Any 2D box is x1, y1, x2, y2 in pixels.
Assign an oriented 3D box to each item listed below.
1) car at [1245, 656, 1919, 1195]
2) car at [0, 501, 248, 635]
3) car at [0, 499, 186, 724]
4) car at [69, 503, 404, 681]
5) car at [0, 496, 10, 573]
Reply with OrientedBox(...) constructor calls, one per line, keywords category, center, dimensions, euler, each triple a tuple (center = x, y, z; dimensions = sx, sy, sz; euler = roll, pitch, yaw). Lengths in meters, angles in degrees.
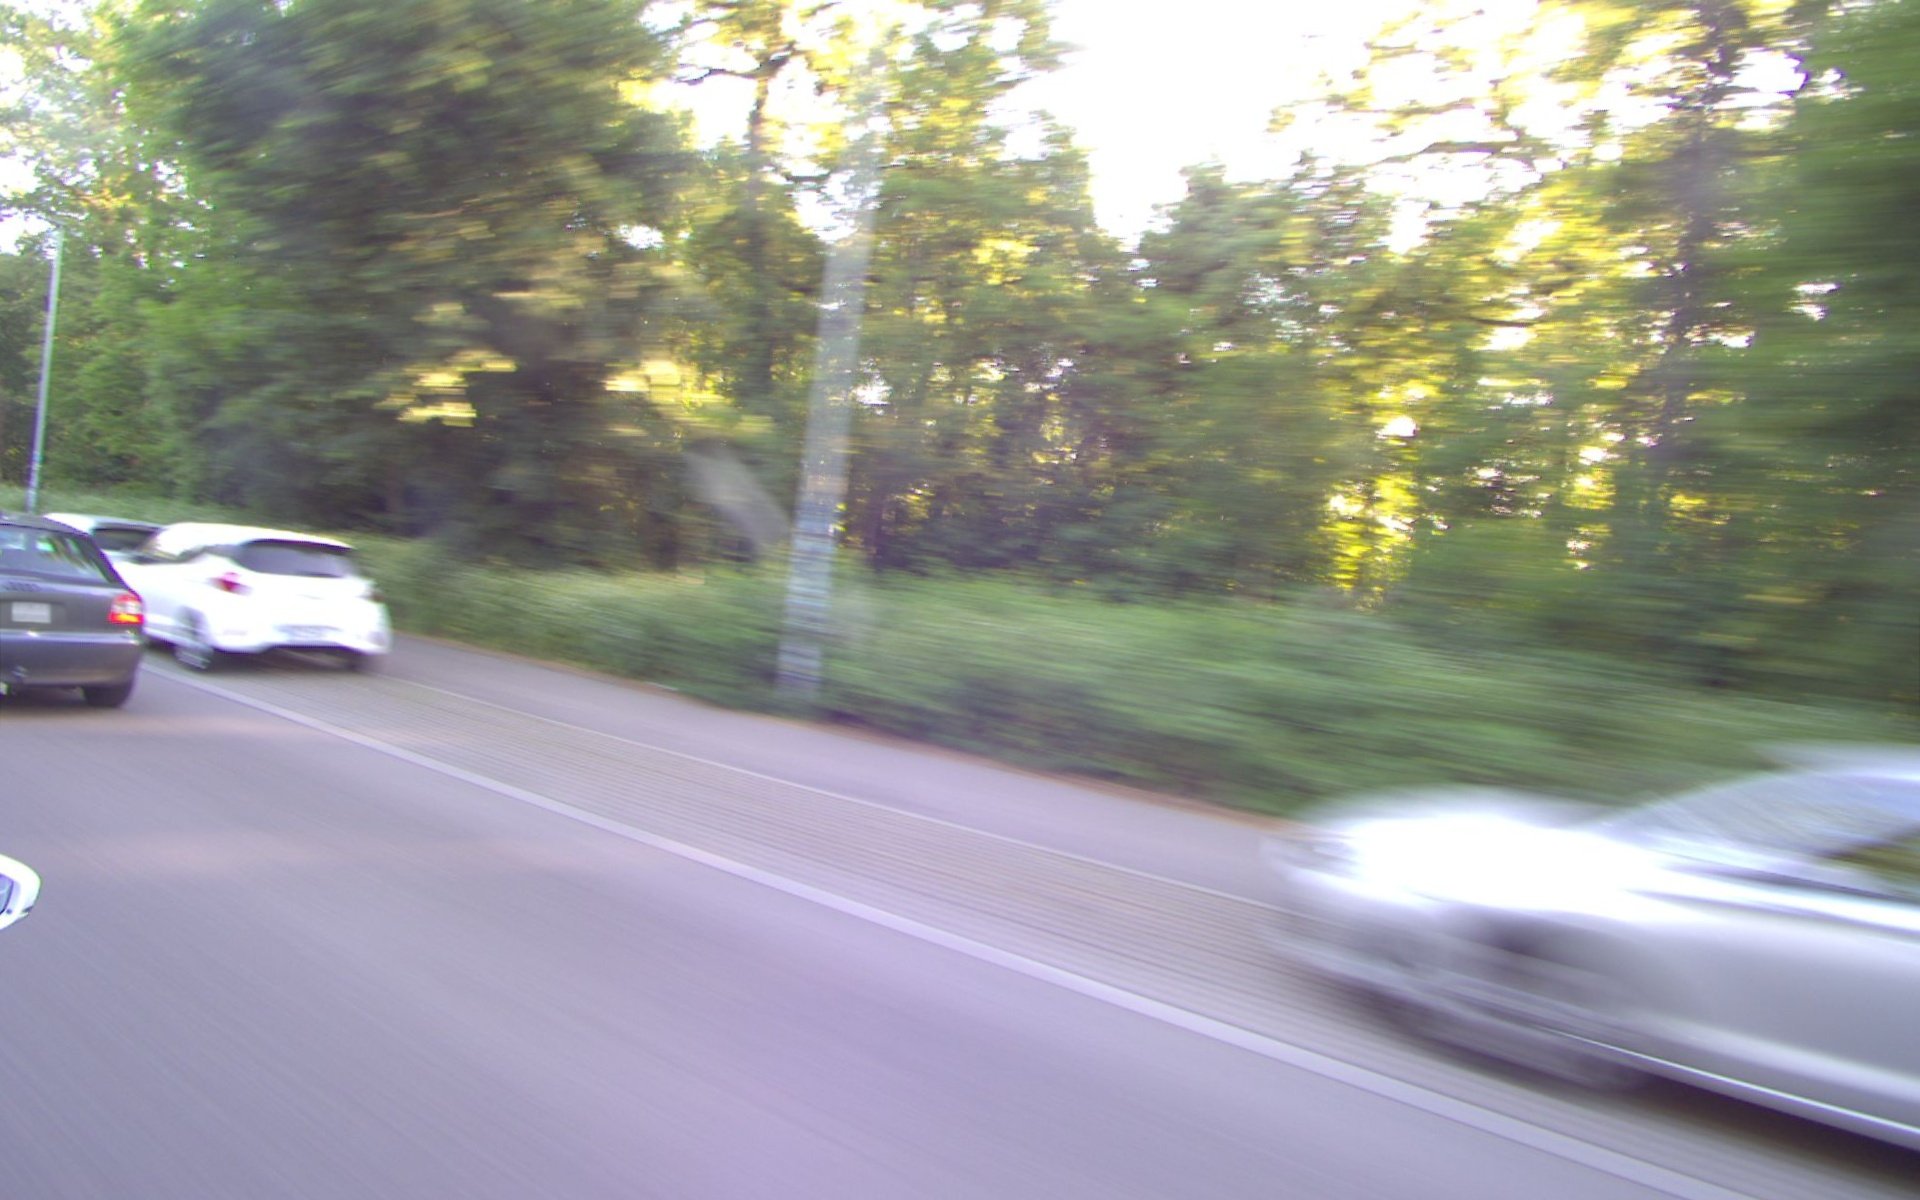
OrientedBox(category="car", center=(3.704, 1.263, 3.891), dimensions=(4.591, 1.459, 1.729), euler=(7, 0, 33))
OrientedBox(category="car", center=(-11.997, -0.484, 14.244), dimensions=(4.024, 1.427, 1.728), euler=(7, 1, 34))
OrientedBox(category="car", center=(-7.955, -0.098, 7.821), dimensions=(4.023, 1.459, 1.730), euler=(7, -1, 33))
OrientedBox(category="car", center=(-8.374, -0.127, 11.545), dimensions=(4.024, 1.541, 1.729), euler=(7, 0, 34))
OrientedBox(category="car", center=(-21.394, -1.564, 20.760), dimensions=(3.803, 1.541, 1.649), euler=(7, 0, 33))
